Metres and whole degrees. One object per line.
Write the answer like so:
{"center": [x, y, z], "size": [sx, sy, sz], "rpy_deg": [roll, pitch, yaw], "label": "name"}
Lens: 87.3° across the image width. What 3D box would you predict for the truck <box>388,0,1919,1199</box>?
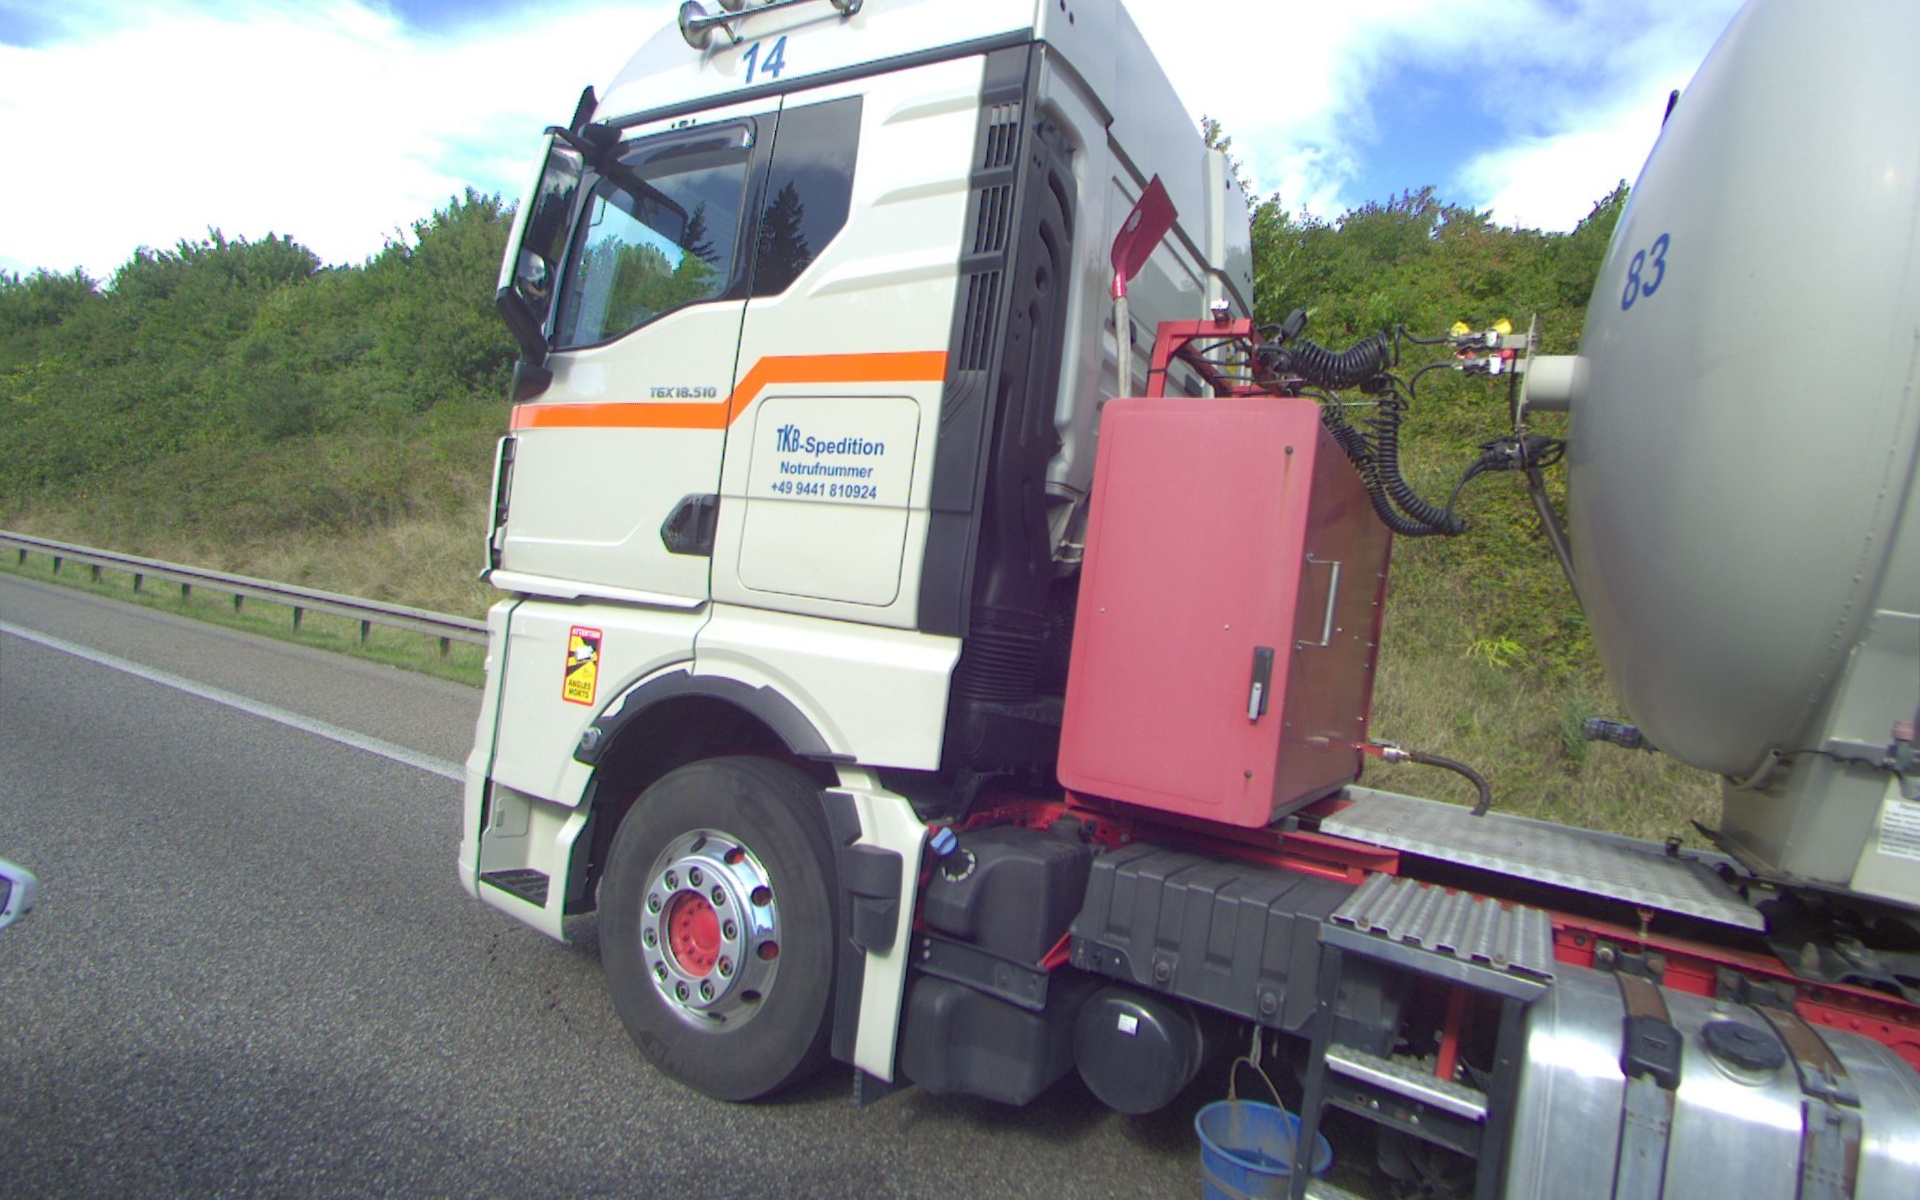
{"center": [1.364, -0.351, 3.234], "size": [5.807, 4.091, 2.807], "rpy_deg": [7, -1, 32], "label": "truck"}
